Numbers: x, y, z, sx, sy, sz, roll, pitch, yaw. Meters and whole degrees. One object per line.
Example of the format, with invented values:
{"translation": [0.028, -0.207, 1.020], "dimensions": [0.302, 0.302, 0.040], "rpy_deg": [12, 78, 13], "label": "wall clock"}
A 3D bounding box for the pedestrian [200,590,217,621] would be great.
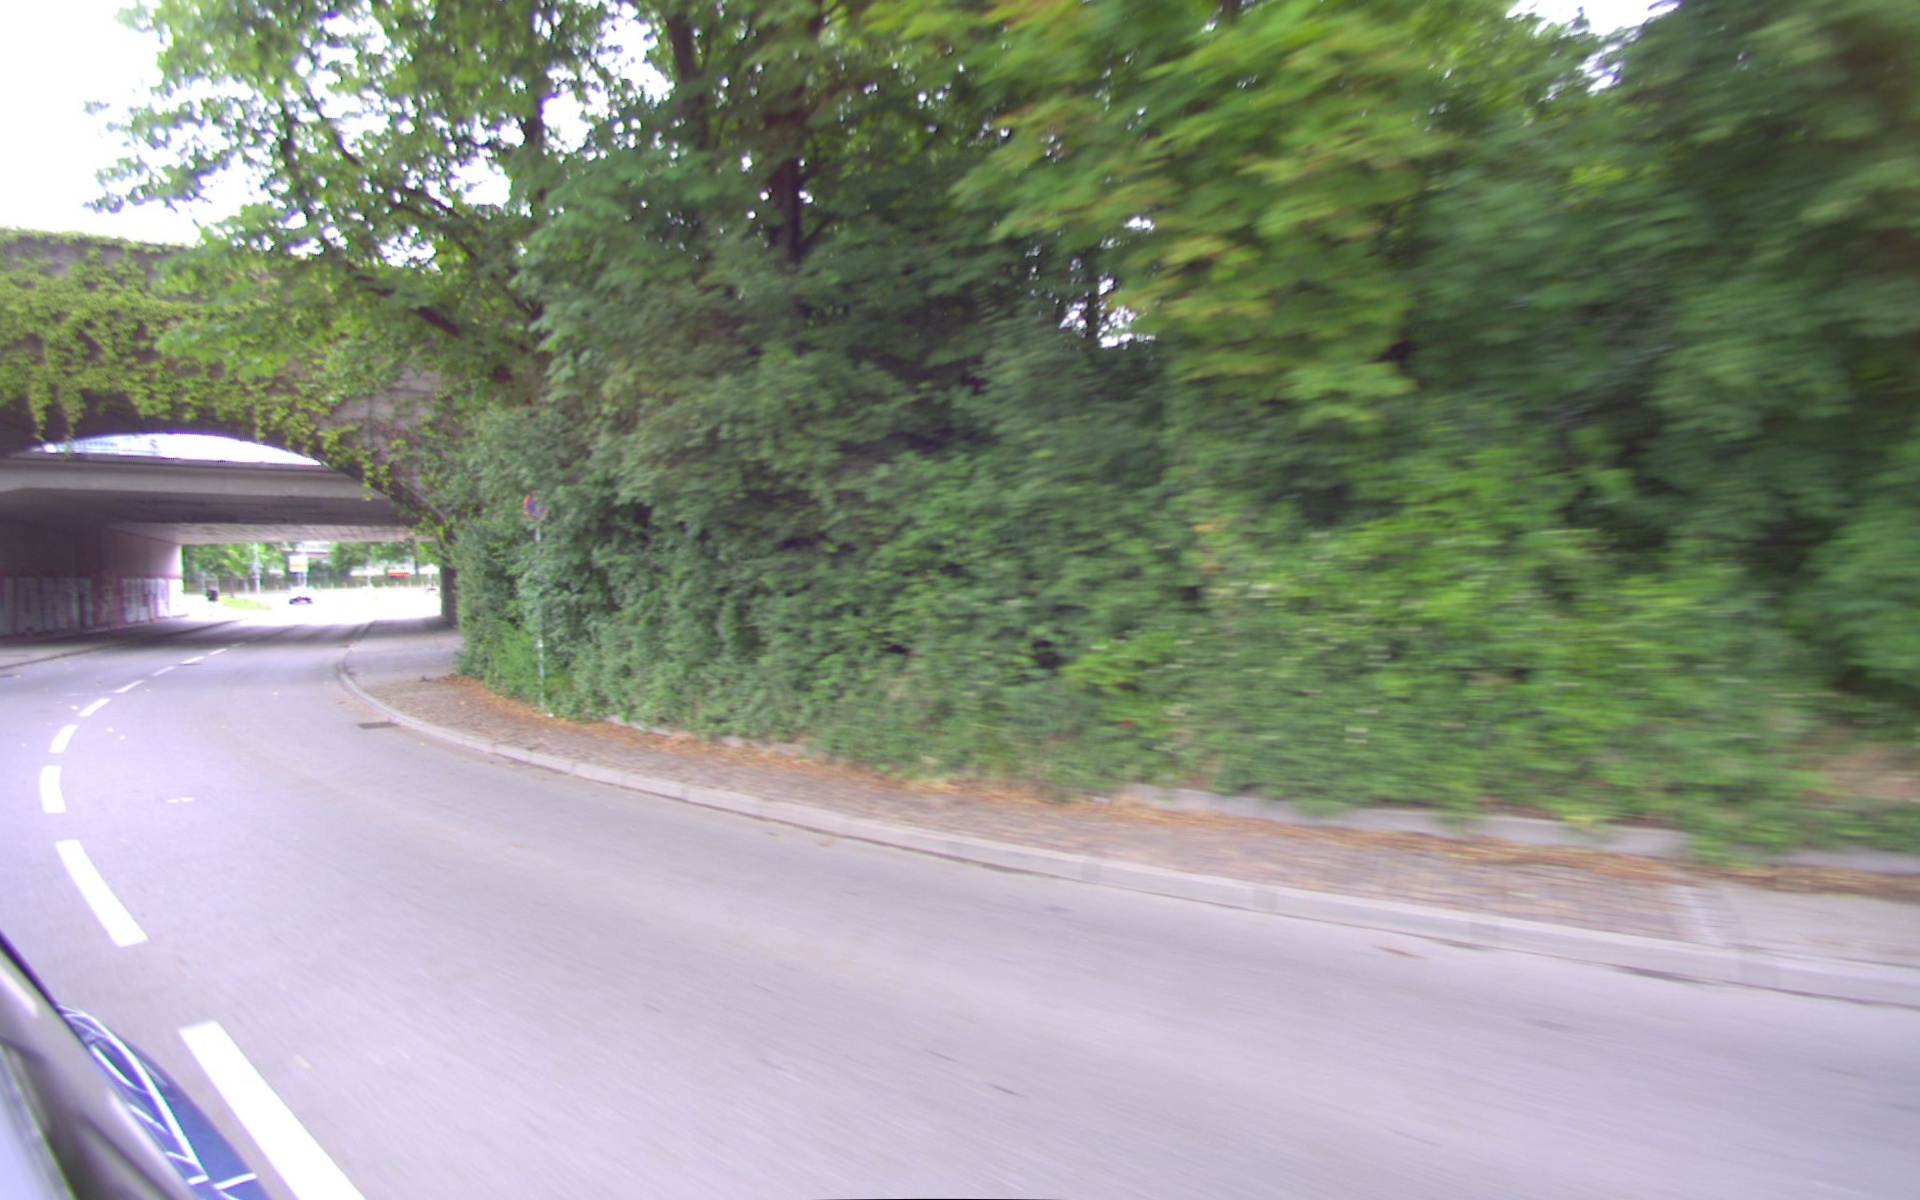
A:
{"translation": [-47.154, 0.336, 63.520], "dimensions": [0.808, 1.894, 1.184], "rpy_deg": [1, 0, -35], "label": "pedestrian"}

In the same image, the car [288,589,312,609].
{"translation": [-59.353, -0.097, 91.023], "dimensions": [1.778, 1.622, 4.189], "rpy_deg": [0, 3, -33], "label": "car"}
